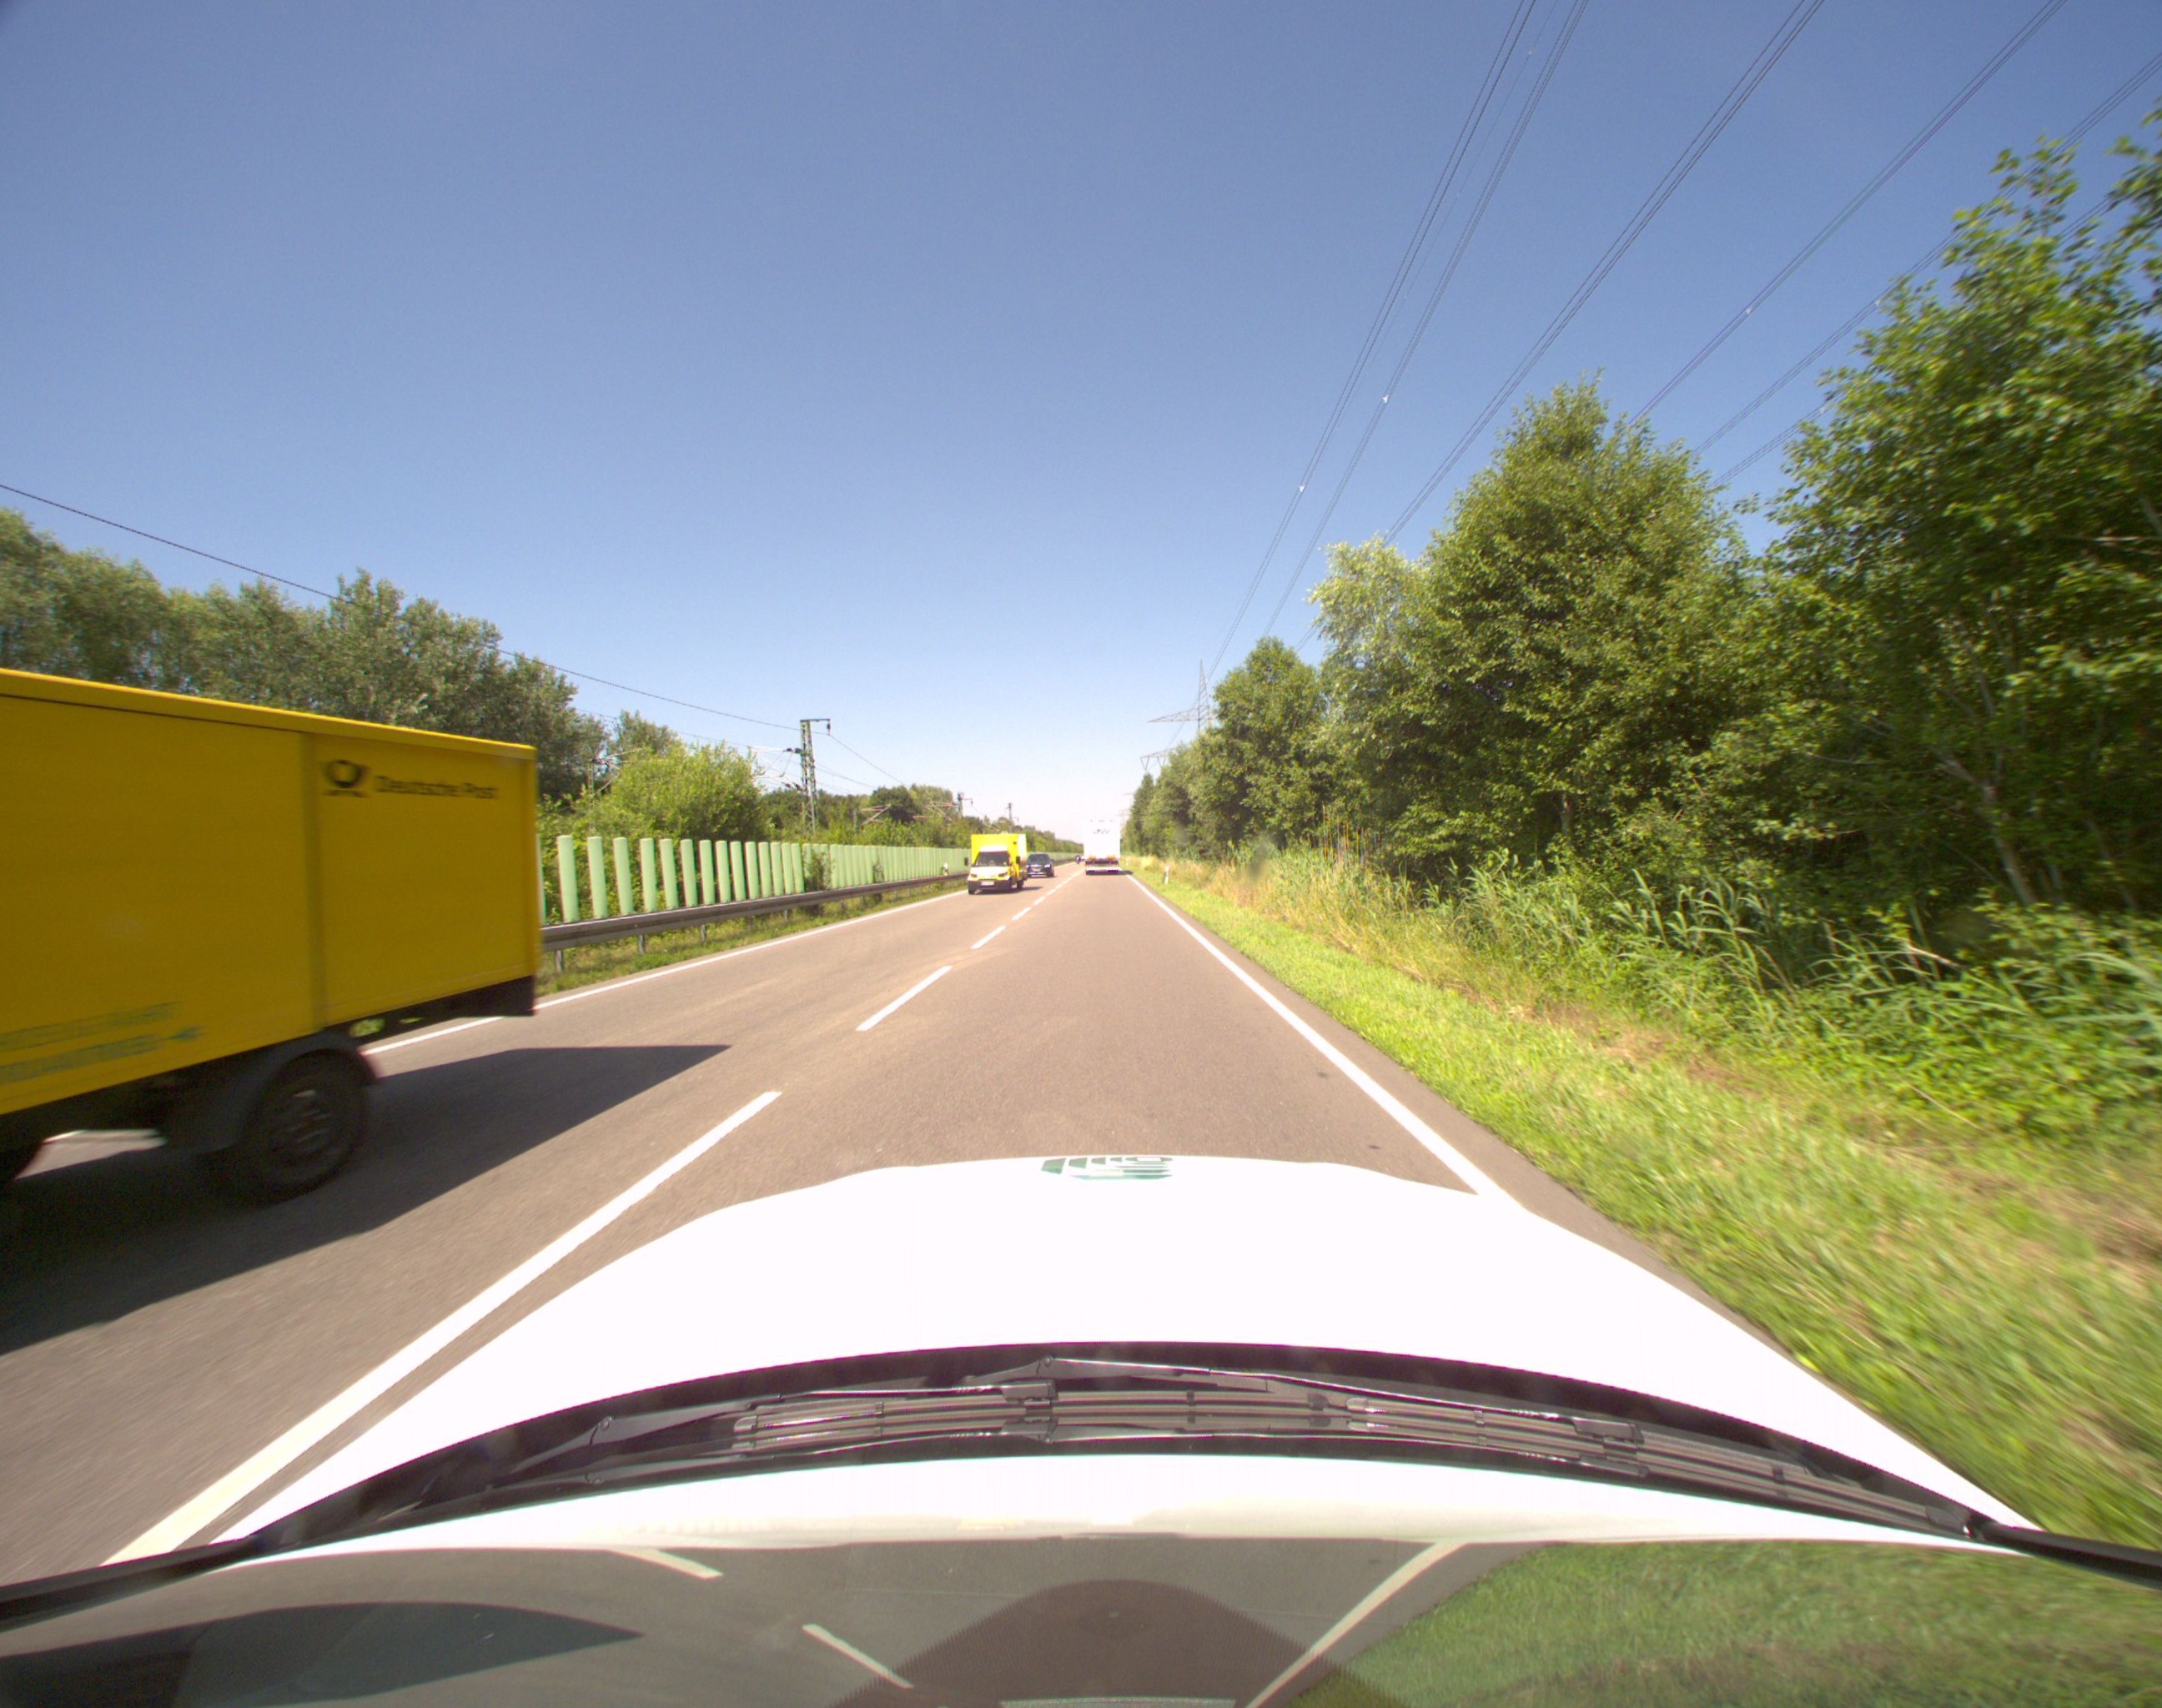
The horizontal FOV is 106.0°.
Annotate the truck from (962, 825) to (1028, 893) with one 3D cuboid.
[{"bbox_3d":[-3.600,0.198,35.065,2.073,2.646,5.705,-1,0,1],"label":"truck"}]

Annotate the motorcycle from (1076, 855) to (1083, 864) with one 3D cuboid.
[{"bbox_3d":[-0.285,0.926,132.903,0.964,1.496,2.632,0,0,3],"label":"motorcycle"}]

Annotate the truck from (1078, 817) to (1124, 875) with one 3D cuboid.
[{"bbox_3d":[1.538,-0.579,63.968,3.181,4.042,12.009,-1,0,1],"label":"truck"}]

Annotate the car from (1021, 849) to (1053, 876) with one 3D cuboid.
[{"bbox_3d":[-3.028,0.563,56.565,1.807,1.694,4.707,-1,0,2],"label":"car"}]

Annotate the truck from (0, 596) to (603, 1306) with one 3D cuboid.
[{"bbox_3d":[-4.572,0.335,2.890,1.986,2.348,6.014,-1,0,2],"label":"truck"}]

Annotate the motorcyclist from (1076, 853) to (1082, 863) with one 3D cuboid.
[{"bbox_3d":[-0.302,0.693,132.540,0.955,1.609,1.003,0,-1,3],"label":"motorcyclist"}]
